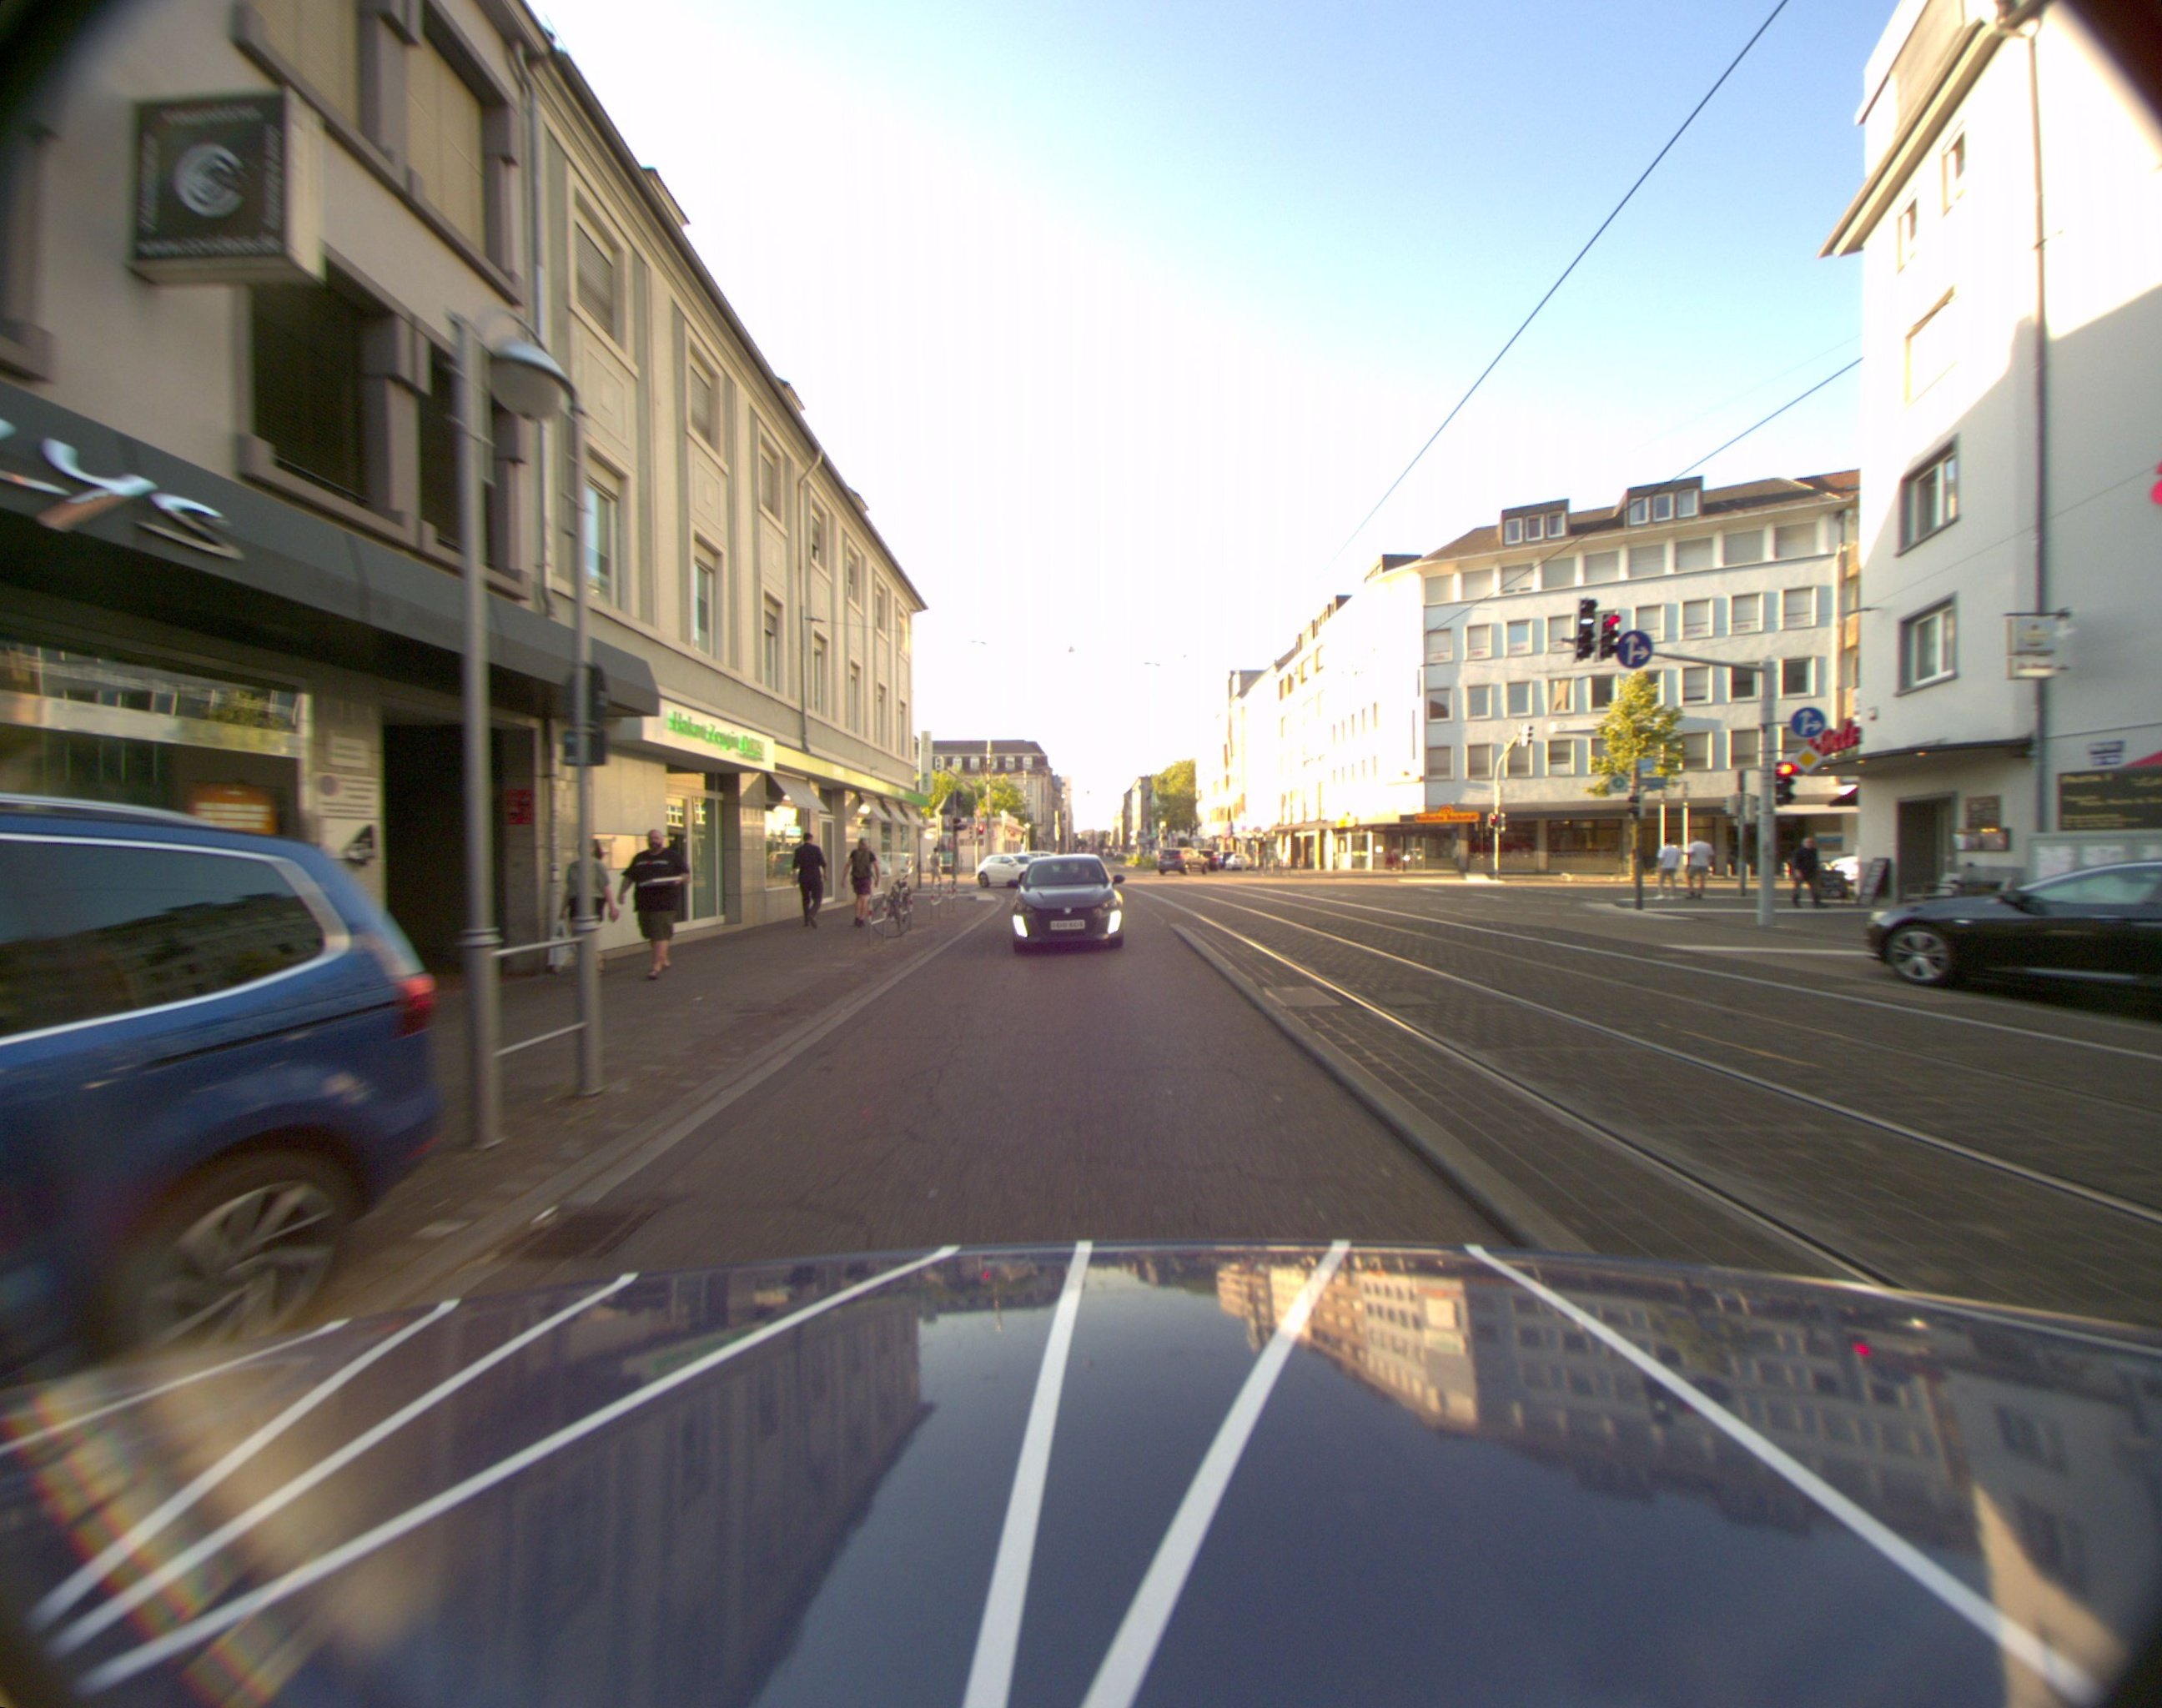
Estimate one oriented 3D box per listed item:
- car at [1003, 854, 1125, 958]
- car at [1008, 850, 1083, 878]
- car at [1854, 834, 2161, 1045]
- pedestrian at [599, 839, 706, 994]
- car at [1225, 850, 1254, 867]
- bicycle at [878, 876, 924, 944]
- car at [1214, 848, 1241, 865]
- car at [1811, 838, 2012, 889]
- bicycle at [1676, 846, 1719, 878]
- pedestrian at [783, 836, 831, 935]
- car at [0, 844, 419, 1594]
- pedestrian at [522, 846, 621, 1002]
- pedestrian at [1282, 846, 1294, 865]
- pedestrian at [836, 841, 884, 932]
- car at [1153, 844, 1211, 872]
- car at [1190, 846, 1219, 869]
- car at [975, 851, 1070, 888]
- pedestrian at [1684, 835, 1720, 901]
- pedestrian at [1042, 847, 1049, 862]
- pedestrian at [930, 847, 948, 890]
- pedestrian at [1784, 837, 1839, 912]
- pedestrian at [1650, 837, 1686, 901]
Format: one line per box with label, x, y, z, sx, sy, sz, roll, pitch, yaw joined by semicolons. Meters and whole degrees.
car;-0.153;0.787;13.483;1.750;1.434;3.906;-3;1;4
car;-1.962;0.513;41.773;3.983;1.463;1.719;-1;1;-3
car;9.826;0.714;6.324;1.998;1.717;4.727;1;1;1
pedestrian;-5.240;0.728;9.336;0.768;1.795;0.928;1;1;2
car;12.755;0.340;61.414;1.636;1.246;3.389;-3;0;1
bicycle;-3.350;1.019;14.246;0.535;1.140;1.490;0;1;-1
car;12.671;0.179;65.866;1.636;1.346;3.389;-3;0;1
car;27.343;0.294;25.229;4.002;1.547;2.119;0;0;25
bicycle;26.311;0.338;32.481;0.638;1.246;2.377;0;2;20
pedestrian;-5.441;0.599;15.140;0.663;1.917;0.879;0;1;-1
car;-3.499;0.851;0.553;1.998;1.717;4.576;1;1;1
pedestrian;-5.828;0.770;8.716;0.651;1.708;0.678;2;1;1
pedestrian;16.472;0.145;60.431;0.544;1.463;0.624;-4;1;-15
pedestrian;-4.527;0.657;15.622;0.739;1.818;0.850;0;1;-1
car;6.409;0.237;47.869;1.823;1.688;4.268;0;1;36
car;9.521;0.217;58.843;1.804;1.688;4.570;-1;1;5
car;-2.538;0.654;32.486;3.974;1.463;1.832;-1;1;44
pedestrian;16.915;0.369;20.694;0.637;1.768;0.601;0;1;26
pedestrian;-4.702;0.053;100.508;0.715;2.003;0.839;-2;4;-15
pedestrian;-5.885;0.586;31.468;0.694;1.732;0.653;-1;1;-11
pedestrian;16.568;0.453;17.248;0.712;1.667;0.704;0;1;25
pedestrian;16.262;0.398;21.061;0.637;1.734;0.670;0;1;24
